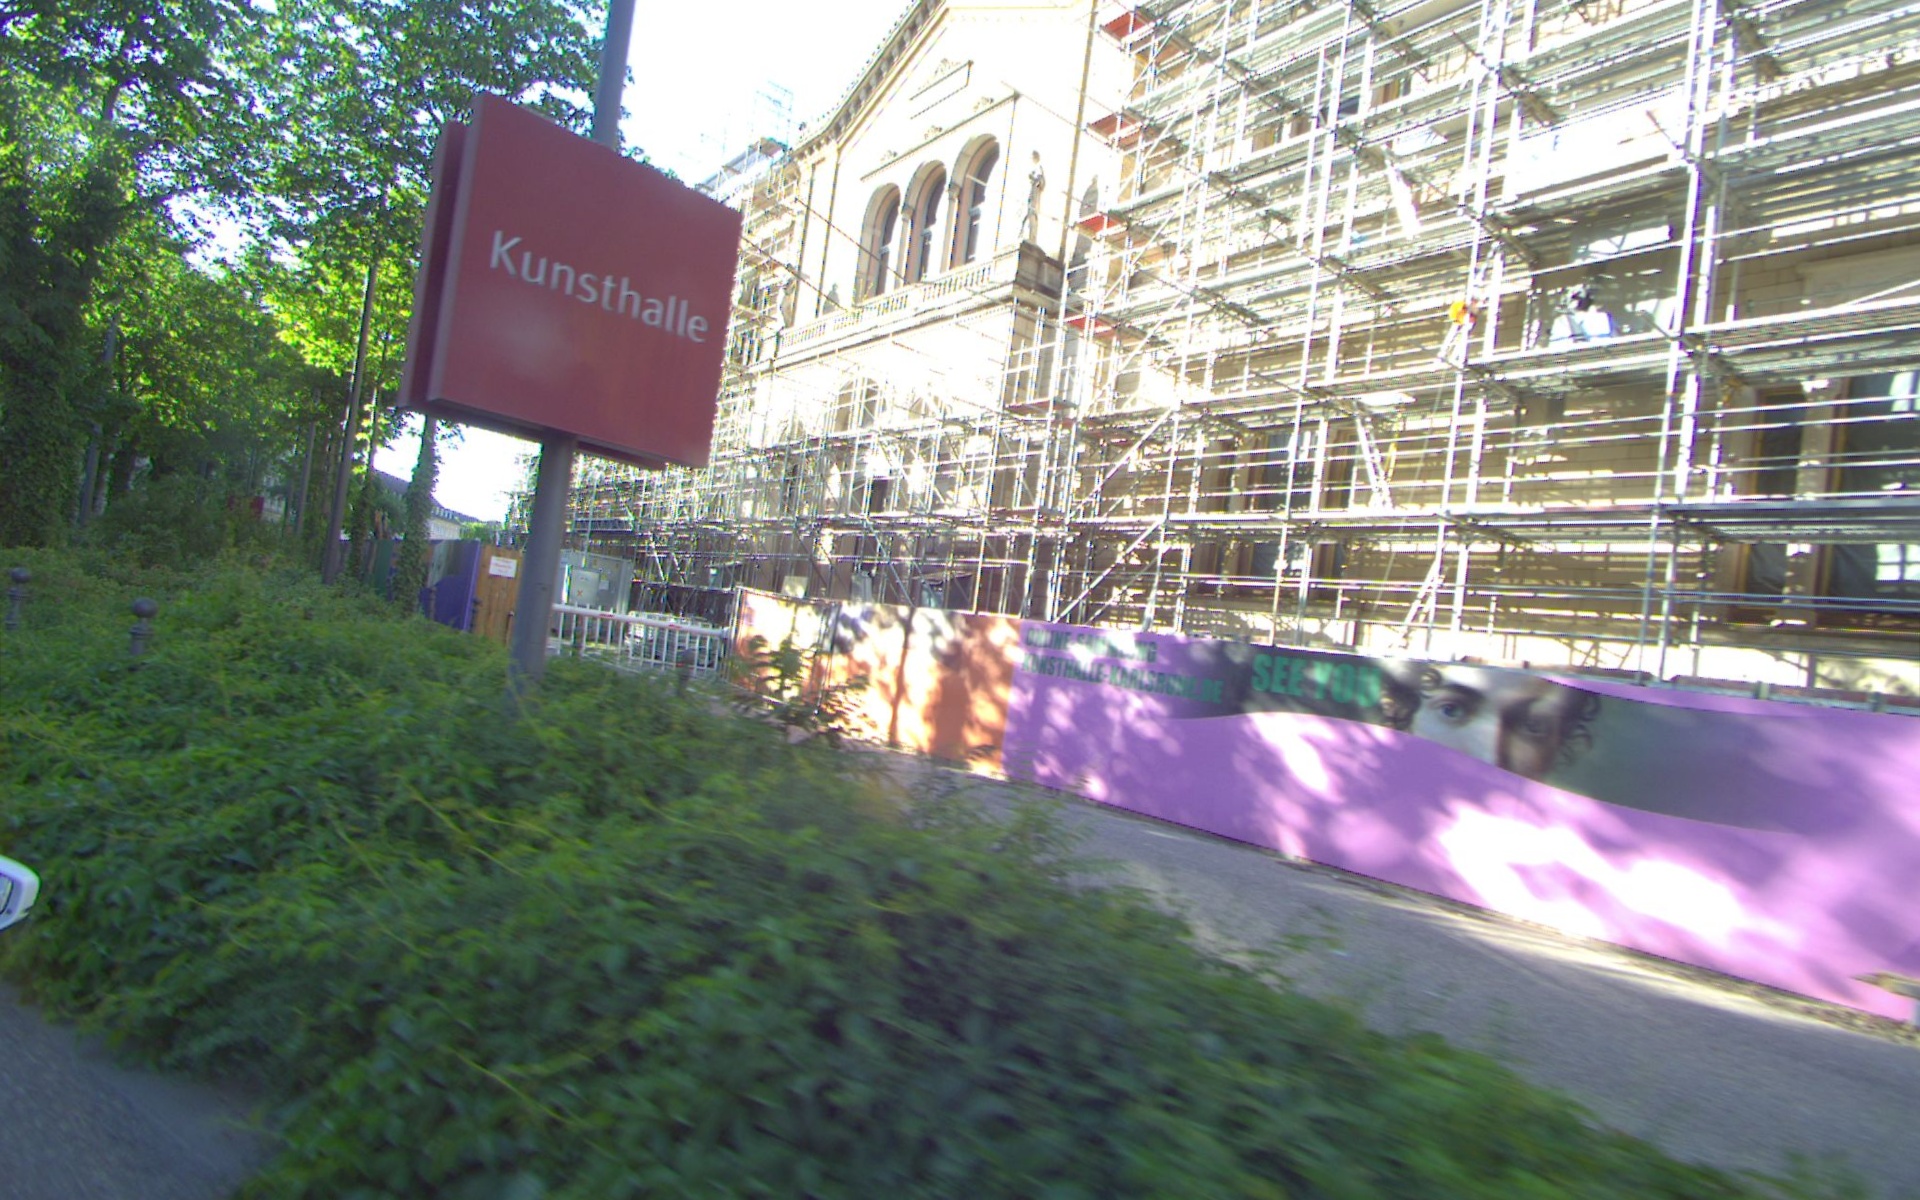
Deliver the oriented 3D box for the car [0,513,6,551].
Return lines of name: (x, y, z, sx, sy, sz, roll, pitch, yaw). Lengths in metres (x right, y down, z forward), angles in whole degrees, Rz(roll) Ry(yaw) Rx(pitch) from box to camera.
car: (-26.666, -1.774, 25.760, 1.824, 1.480, 4.036, 9, -3, -24)

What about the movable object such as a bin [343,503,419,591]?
movable object such as a bin: (-35.104, -3.132, 61.242, 3.280, 4.593, 7.851, 7, -2, -28)
